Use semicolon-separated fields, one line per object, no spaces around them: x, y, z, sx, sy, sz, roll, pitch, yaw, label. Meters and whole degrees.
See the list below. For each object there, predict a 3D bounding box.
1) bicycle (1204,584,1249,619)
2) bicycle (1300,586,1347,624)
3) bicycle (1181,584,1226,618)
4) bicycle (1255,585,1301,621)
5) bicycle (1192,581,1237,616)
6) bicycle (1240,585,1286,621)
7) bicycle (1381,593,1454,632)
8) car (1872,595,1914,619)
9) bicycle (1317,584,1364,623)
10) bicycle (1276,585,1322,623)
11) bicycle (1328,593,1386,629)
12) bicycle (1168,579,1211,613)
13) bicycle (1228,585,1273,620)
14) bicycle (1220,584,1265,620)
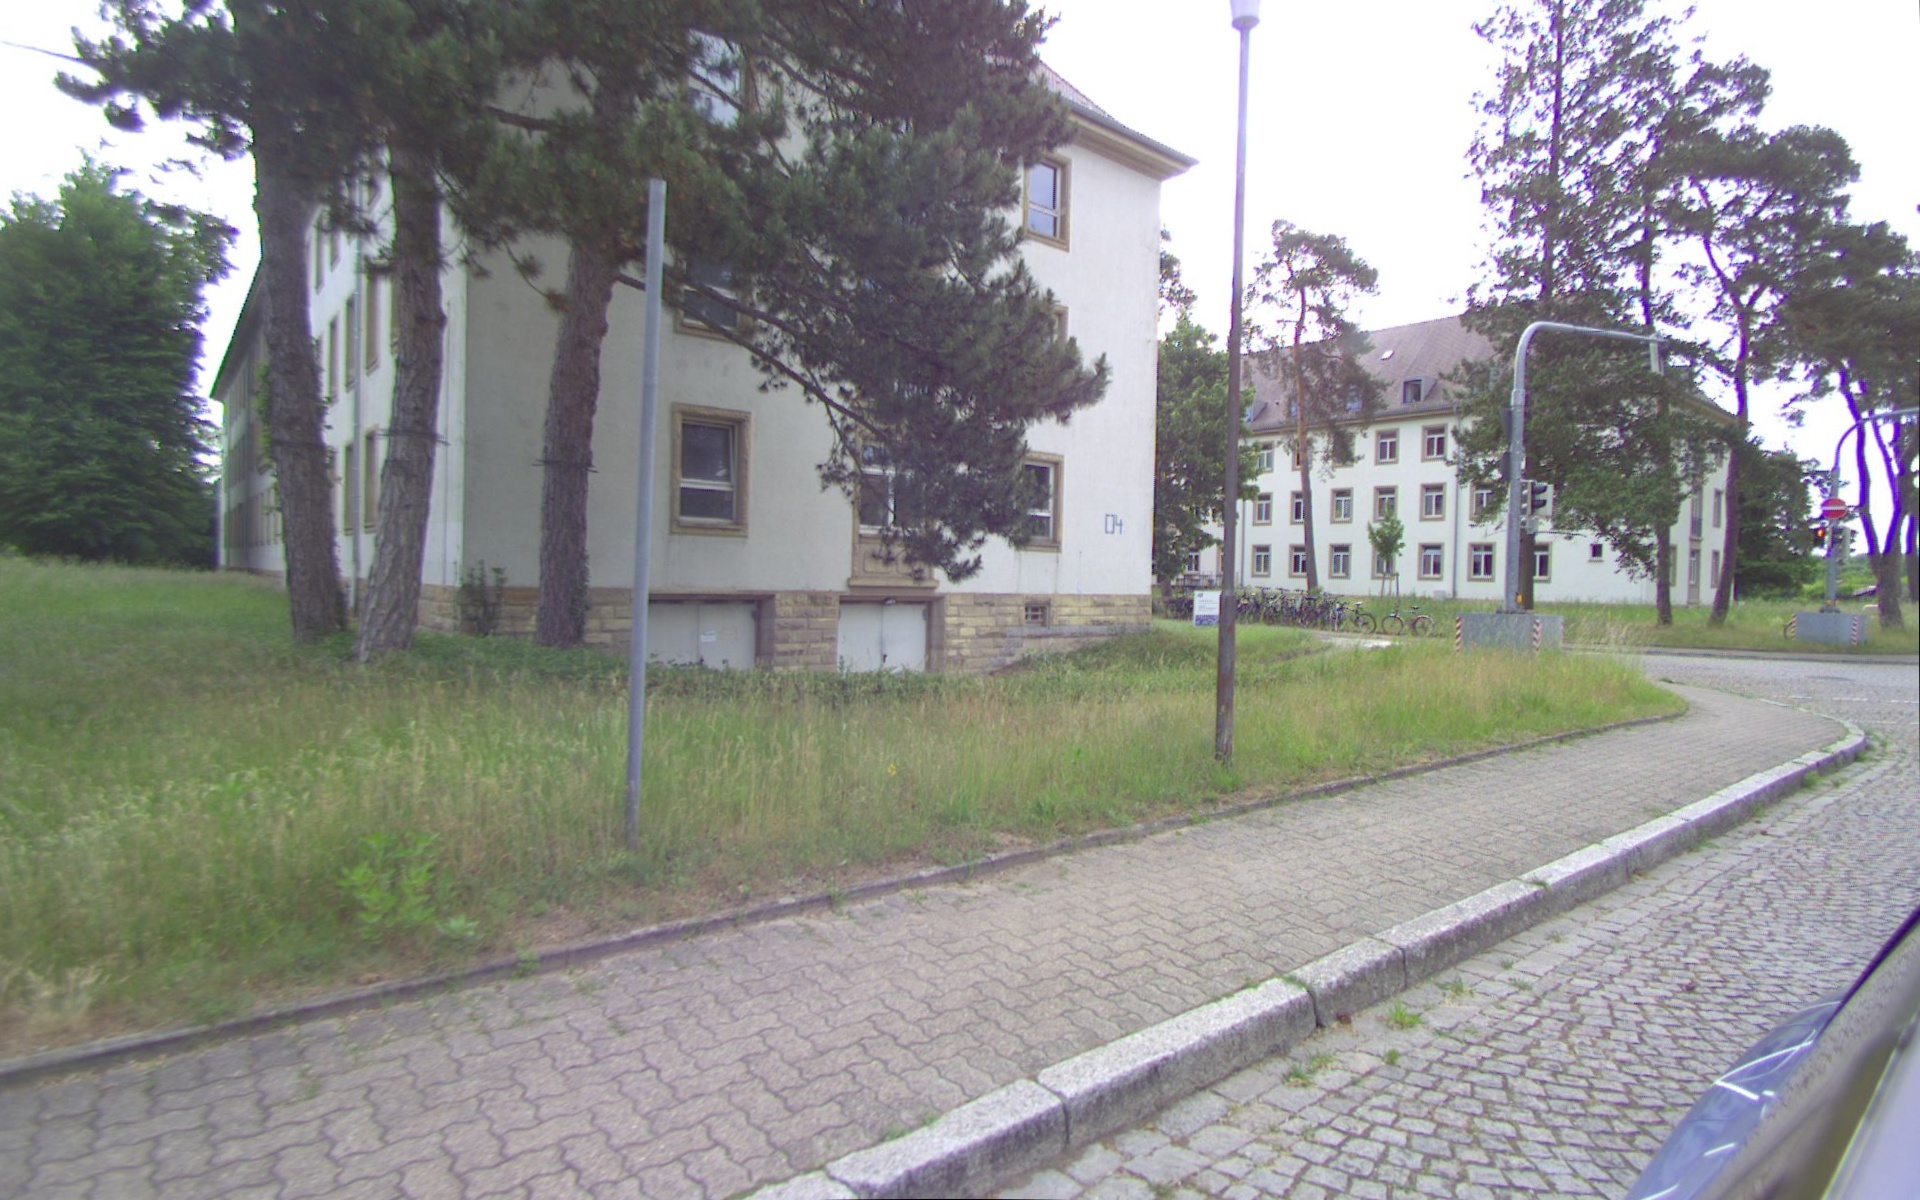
10.067;0.067;38.250;1.954;1.263;0.623;2;0;-41;bicycle
12.635;0.173;35.159;1.954;1.263;0.623;2;0;-41;bicycle
9.397;0.039;39.000;1.954;1.263;0.623;2;0;-41;bicycle
11.487;0.126;36.525;1.954;1.263;0.623;2;0;-41;bicycle
9.727;-0.059;38.631;1.954;1.263;0.623;2;0;-41;bicycle
11.089;0.109;37.016;1.954;1.263;0.623;2;0;-41;bicycle
14.078;0.383;31.170;0.612;1.127;1.988;2;0;-36;bicycle
59.722;0.451;64.775;3.137;1.455;1.487;2;0;-38;car
13.037;0.126;34.675;1.954;1.263;0.623;2;0;-41;bicycle
12.034;0.149;35.864;1.954;1.263;0.623;2;0;-41;bicycle
12.784;0.346;32.633;0.612;1.096;1.678;2;0;-35;bicycle
8.976;-0.153;39.503;1.955;1.263;0.623;-2;2;-41;bicycle
10.766;0.096;37.430;1.954;1.263;0.623;2;0;-41;bicycle
10.504;0.086;37.646;1.954;1.263;0.623;2;0;-41;bicycle
